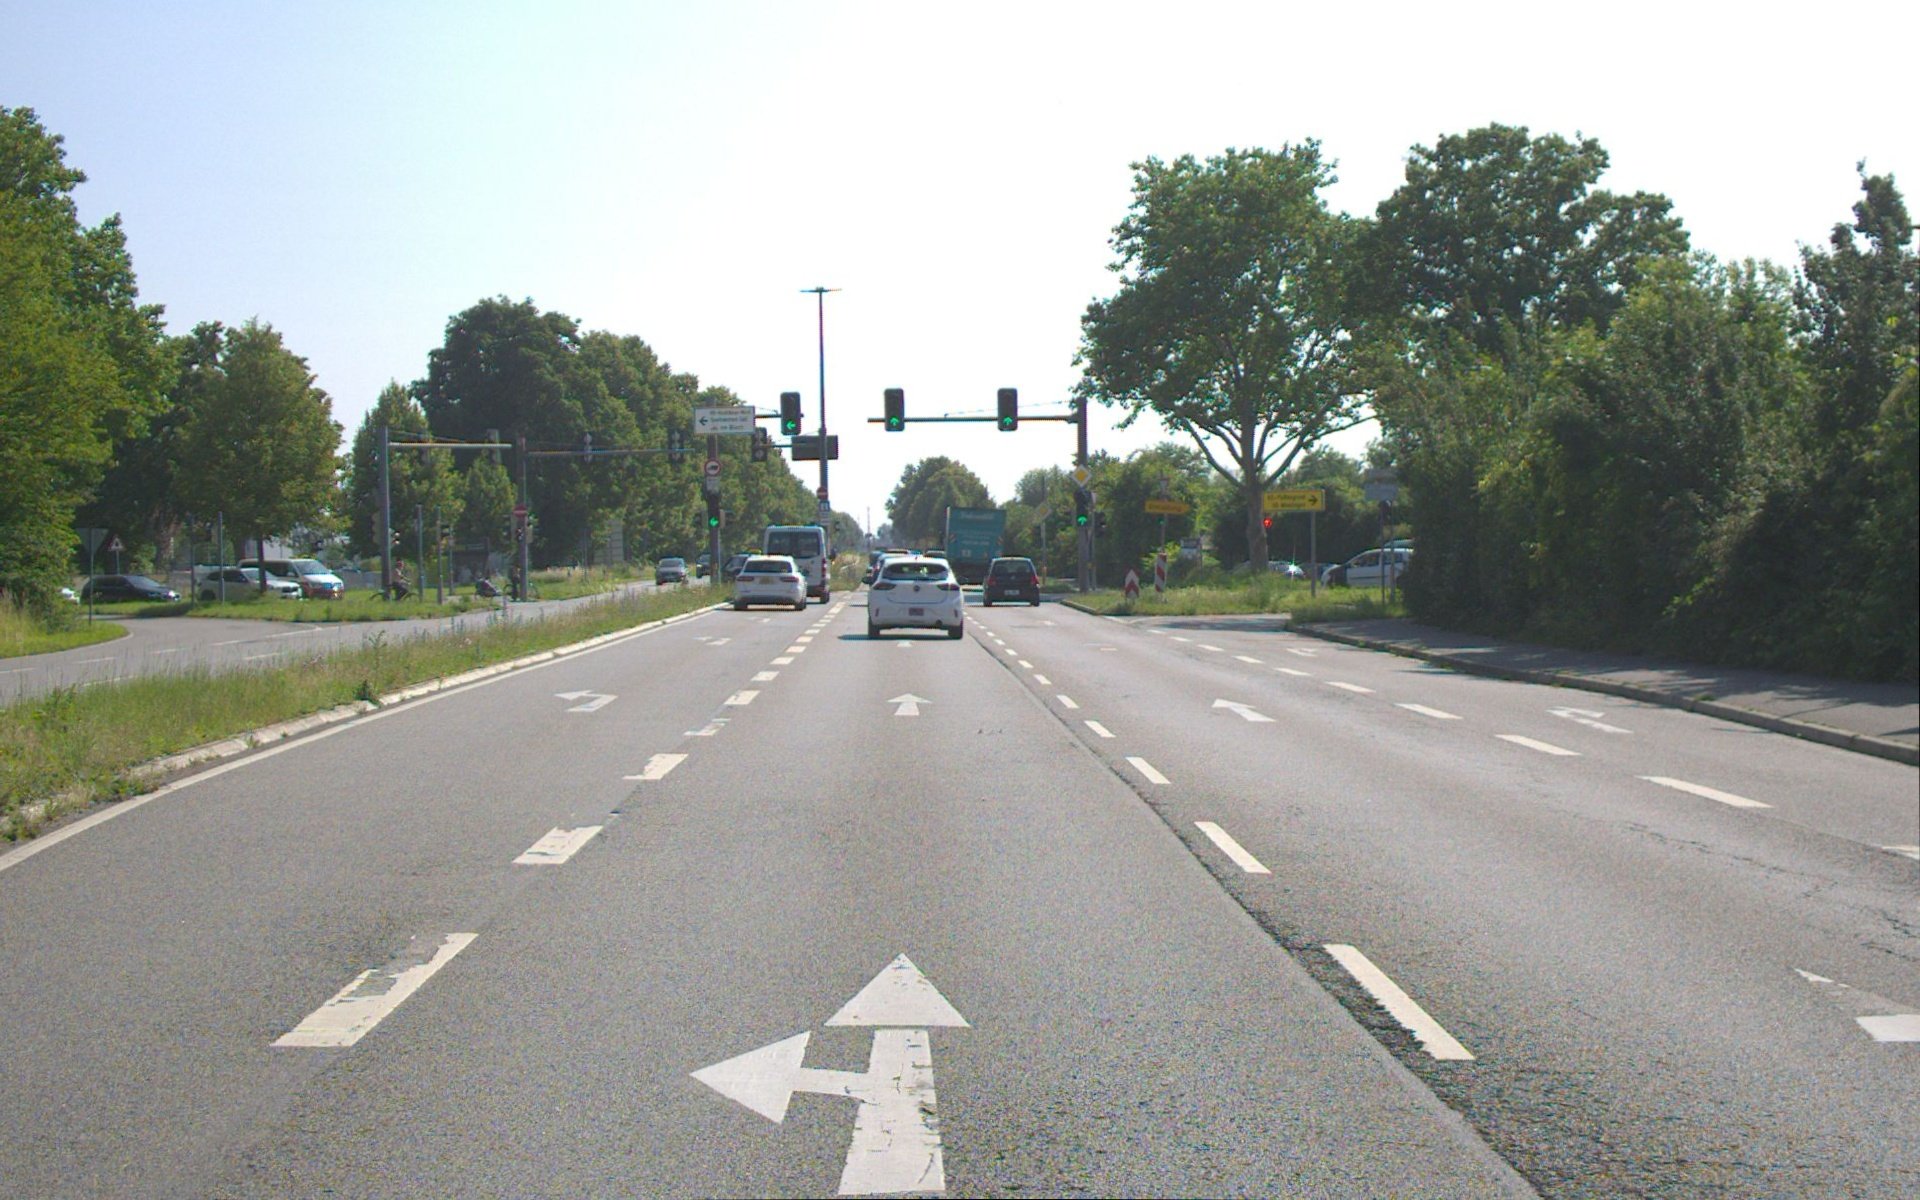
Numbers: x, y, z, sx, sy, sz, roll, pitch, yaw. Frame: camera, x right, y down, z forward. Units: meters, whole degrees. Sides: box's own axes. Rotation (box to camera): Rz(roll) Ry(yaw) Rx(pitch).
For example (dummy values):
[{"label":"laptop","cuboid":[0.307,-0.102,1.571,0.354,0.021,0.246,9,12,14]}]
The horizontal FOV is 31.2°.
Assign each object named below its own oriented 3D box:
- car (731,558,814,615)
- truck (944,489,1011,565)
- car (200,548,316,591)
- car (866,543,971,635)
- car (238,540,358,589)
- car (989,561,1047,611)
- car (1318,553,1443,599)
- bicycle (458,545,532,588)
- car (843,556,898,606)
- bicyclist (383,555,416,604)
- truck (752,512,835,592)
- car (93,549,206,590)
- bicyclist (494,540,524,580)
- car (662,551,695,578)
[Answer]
[{"label":"car","cuboid":[-5.026,-0.378,92.544,1.812,1.459,4.970,1,0,2]},{"label":"truck","cuboid":[0.780,-3.354,159.248,2.891,3.417,9.169,0,1,-1]},{"label":"car","cuboid":[-27.074,-1.173,132.606,4.262,1.600,2.001,0,1,35]},{"label":"car","cuboid":[-0.741,-0.233,62.259,1.798,1.547,4.000,2,1,0]},{"label":"car","cuboid":[-26.222,-1.401,136.117,4.649,1.943,1.996,0,0,34]},{"label":"car","cuboid":[1.700,-0.405,101.564,1.572,1.410,3.277,1,0,-1]},{"label":"car","cuboid":[14.069,-0.805,114.917,3.748,1.464,1.783,1,0,27]},{"label":"bicycle","cuboid":[-18.950,-1.364,139.990,2.796,1.664,1.134,-1,1,27]},{"label":"car","cuboid":[-2.612,-0.557,100.551,1.572,1.410,3.277,0,0,-1]},{"label":"bicyclist","cuboid":[-17.822,-0.651,109.380,0.847,1.512,0.747,1,1,4]},{"label":"truck","cuboid":[-5.094,-1.489,105.766,2.373,2.381,6.041,0,1,-1]},{"label":"car","cuboid":[-32.067,-1.206,136.028,4.262,1.600,2.001,0,1,35]},{"label":"bicyclist","cuboid":[-18.318,-1.616,139.636,0.863,1.613,0.757,1,0,27]},{"label":"car","cuboid":[-15.346,-1.921,187.296,1.485,1.409,3.762,-2,1,-1]}]
